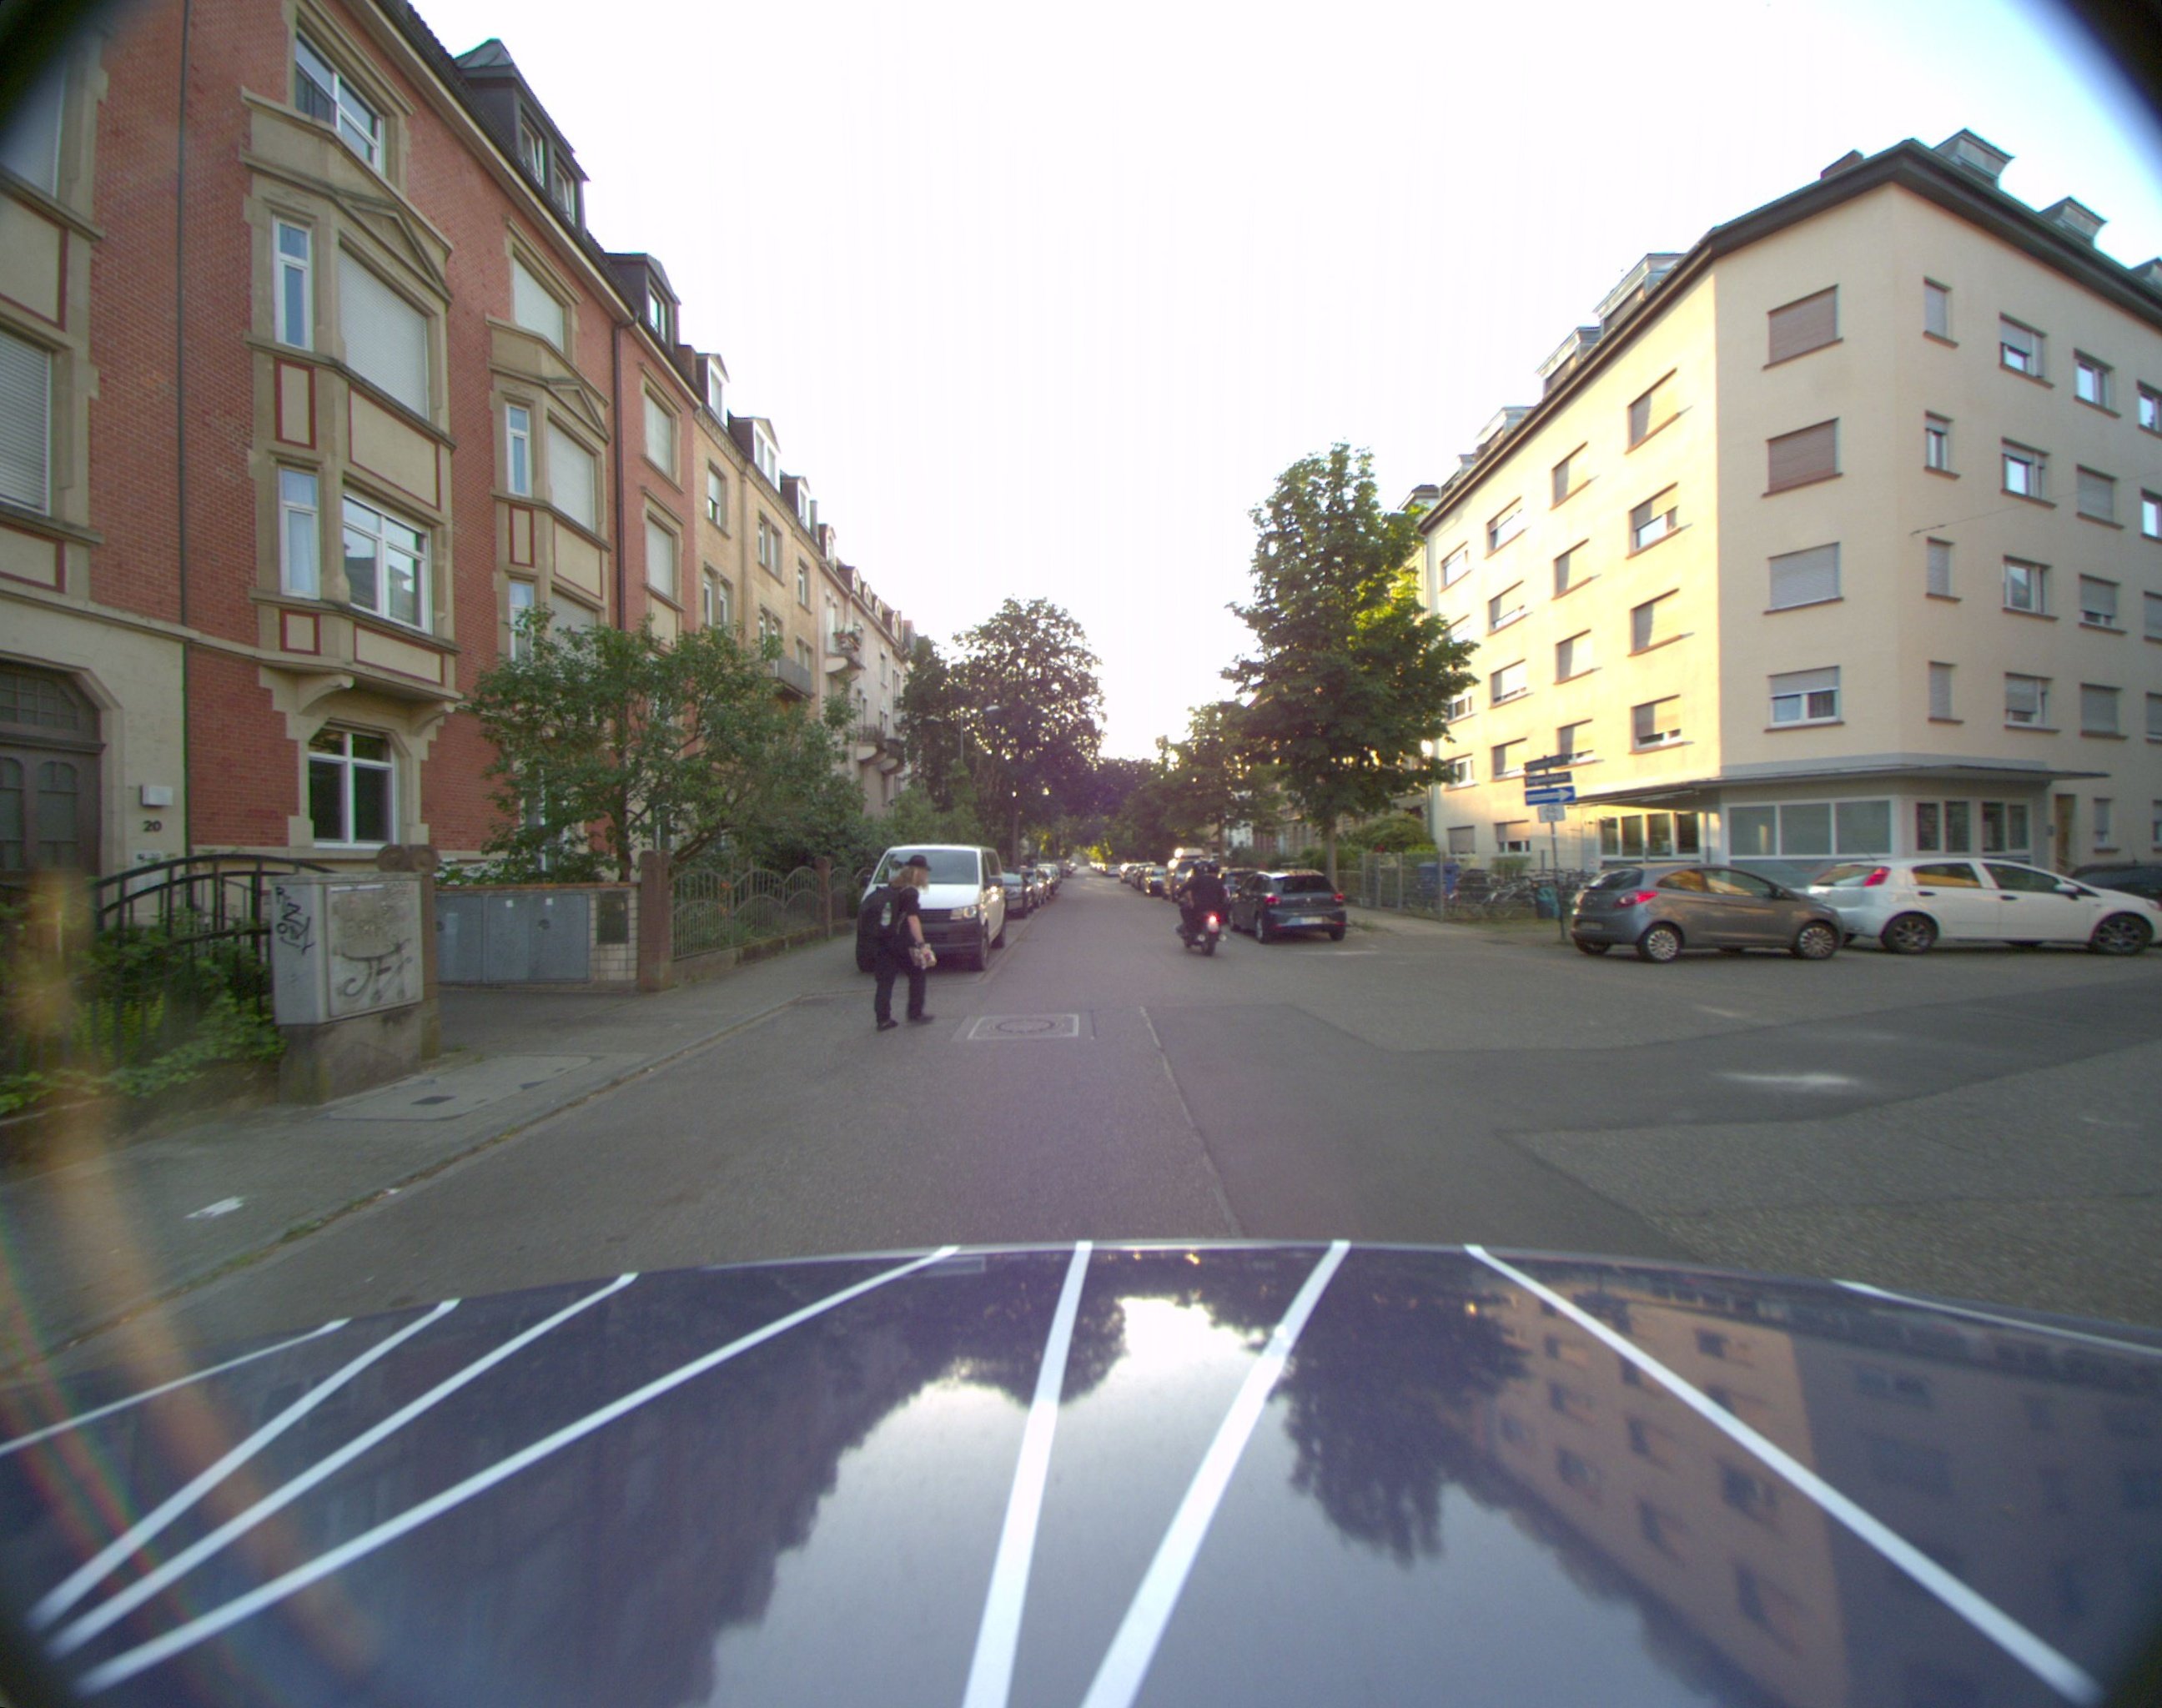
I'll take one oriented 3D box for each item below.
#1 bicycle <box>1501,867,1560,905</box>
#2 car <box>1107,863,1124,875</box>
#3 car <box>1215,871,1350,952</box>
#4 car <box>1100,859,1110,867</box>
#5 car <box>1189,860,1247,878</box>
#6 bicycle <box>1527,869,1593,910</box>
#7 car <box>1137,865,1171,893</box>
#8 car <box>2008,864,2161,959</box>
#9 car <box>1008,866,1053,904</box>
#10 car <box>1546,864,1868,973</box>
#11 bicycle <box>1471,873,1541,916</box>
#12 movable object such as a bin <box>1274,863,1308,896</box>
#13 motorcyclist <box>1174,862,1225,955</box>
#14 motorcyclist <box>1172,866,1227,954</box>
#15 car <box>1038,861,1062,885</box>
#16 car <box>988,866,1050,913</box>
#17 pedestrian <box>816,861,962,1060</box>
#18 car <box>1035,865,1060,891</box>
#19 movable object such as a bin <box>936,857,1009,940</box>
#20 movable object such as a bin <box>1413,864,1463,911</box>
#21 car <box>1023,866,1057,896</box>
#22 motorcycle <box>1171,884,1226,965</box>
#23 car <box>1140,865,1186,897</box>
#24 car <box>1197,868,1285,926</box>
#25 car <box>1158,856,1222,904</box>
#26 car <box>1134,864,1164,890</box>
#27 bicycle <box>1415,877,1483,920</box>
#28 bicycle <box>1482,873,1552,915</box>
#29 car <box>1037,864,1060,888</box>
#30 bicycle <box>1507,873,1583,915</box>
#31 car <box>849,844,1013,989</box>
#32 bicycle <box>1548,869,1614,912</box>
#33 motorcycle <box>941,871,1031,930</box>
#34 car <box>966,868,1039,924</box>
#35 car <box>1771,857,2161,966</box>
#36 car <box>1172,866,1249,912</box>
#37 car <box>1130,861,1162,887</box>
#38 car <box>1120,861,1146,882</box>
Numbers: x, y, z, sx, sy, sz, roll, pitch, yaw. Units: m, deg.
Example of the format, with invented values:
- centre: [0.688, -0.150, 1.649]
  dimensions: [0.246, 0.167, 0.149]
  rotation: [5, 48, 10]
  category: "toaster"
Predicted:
- centre: [13.772, 0.981, 23.285]
  dimensions: [1.548, 1.085, 0.500]
  rotation: [-2, 0, -6]
  category: "bicycle"
- centre: [4.422, 1.906, 97.577]
  dimensions: [1.953, 1.484, 3.738]
  rotation: [-2, 0, 0]
  category: "car"
- centre: [4.286, 1.156, 16.889]
  dimensions: [1.679, 1.453, 4.463]
  rotation: [-2, 0, -2]
  category: "car"
- centre: [4.643, 1.791, 147.085]
  dimensions: [1.840, 1.484, 3.641]
  rotation: [-2, 0, 0]
  category: "car"
- centre: [11.053, 1.214, 61.382]
  dimensions: [4.413, 1.333, 1.626]
  rotation: [-2, 0, 1]
  category: "car"
- centre: [13.926, 1.020, 22.081]
  dimensions: [1.635, 1.085, 0.500]
  rotation: [-2, 0, -6]
  category: "bicycle"
- centre: [4.079, 1.382, 42.839]
  dimensions: [1.441, 1.485, 3.298]
  rotation: [-2, 0, -2]
  category: "car"
- centre: [18.557, 0.912, 12.979]
  dimensions: [4.082, 1.430, 1.996]
  rotation: [-1, -1, -16]
  category: "car"
- centre: [-2.216, 1.348, 34.231]
  dimensions: [1.590, 1.516, 3.603]
  rotation: [-2, 0, 2]
  category: "car"
- centre: [9.654, 0.956, 11.948]
  dimensions: [3.515, 1.498, 1.845]
  rotation: [-1, -1, -1]
  category: "car"
- centre: [11.414, 1.074, 20.430]
  dimensions: [0.502, 1.085, 1.545]
  rotation: [-3, 0, -37]
  category: "bicycle"
- centre: [9.227, 1.094, 33.396]
  dimensions: [0.948, 1.379, 1.551]
  rotation: [-2, 0, -3]
  category: "movable object such as a bin"
- centre: [2.030, 0.912, 12.976]
  dimensions: [0.788, 1.531, 0.546]
  rotation: [2, 1, 10]
  category: "motorcyclist"
- centre: [2.143, 0.975, 13.676]
  dimensions: [0.891, 1.496, 0.970]
  rotation: [2, 0, 10]
  category: "motorcyclist"
- centre: [-2.314, 1.403, 57.331]
  dimensions: [1.737, 1.691, 4.168]
  rotation: [-2, 0, -2]
  category: "car"
- centre: [-2.337, 1.299, 29.733]
  dimensions: [1.761, 1.573, 4.843]
  rotation: [-2, 0, 2]
  category: "car"
- centre: [-1.836, 0.954, 7.303]
  dimensions: [0.889, 1.712, 0.961]
  rotation: [-2, 0, 42]
  category: "pedestrian"
- centre: [-2.069, 1.481, 47.318]
  dimensions: [1.479, 1.498, 3.929]
  rotation: [-2, 0, -2]
  category: "car"
- centre: [-2.574, 1.017, 18.408]
  dimensions: [1.415, 1.867, 2.325]
  rotation: [1, 0, 0]
  category: "movable object such as a bin"
- centre: [10.907, 0.996, 23.270]
  dimensions: [0.868, 1.344, 1.398]
  rotation: [-2, 0, 2]
  category: "movable object such as a bin"
- centre: [-2.243, 1.465, 42.095]
  dimensions: [1.737, 1.498, 4.163]
  rotation: [-2, 0, -2]
  category: "car"
- centre: [2.091, 1.188, 13.424]
  dimensions: [0.848, 1.202, 2.076]
  rotation: [2, 0, 10]
  category: "motorcycle"
- centre: [4.035, 1.332, 38.123]
  dimensions: [1.733, 1.433, 4.024]
  rotation: [-2, 0, -2]
  category: "car"
- centre: [4.453, 1.145, 21.715]
  dimensions: [1.746, 1.412, 4.143]
  rotation: [-2, 0, 2]
  category: "car"
- centre: [4.452, 1.021, 31.730]
  dimensions: [1.866, 1.768, 4.623]
  rotation: [-2, 0, -1]
  category: "car"
- centre: [4.195, 1.402, 47.298]
  dimensions: [1.682, 1.489, 3.626]
  rotation: [-2, 0, 2]
  category: "car"
- centre: [9.762, 1.159, 20.237]
  dimensions: [0.689, 1.019, 1.931]
  rotation: [-2, 0, -6]
  category: "bicycle"
- centre: [11.860, 1.081, 20.702]
  dimensions: [0.502, 1.085, 1.545]
  rotation: [-3, 0, -37]
  category: "bicycle"
- centre: [-2.178, 1.475, 51.712]
  dimensions: [1.502, 1.538, 3.338]
  rotation: [-2, 0, -2]
  category: "car"
- centre: [12.526, 1.069, 20.570]
  dimensions: [0.386, 1.085, 1.707]
  rotation: [-3, 0, -36]
  category: "bicycle"
- centre: [-2.359, 0.897, 13.464]
  dimensions: [1.866, 2.027, 5.544]
  rotation: [1, 0, -1]
  category: "car"
- centre: [13.982, 1.012, 21.255]
  dimensions: [1.548, 1.134, 0.500]
  rotation: [-2, 0, -6]
  category: "bicycle"
- centre: [-2.557, 1.220, 20.410]
  dimensions: [2.099, 1.473, 1.130]
  rotation: [1, 0, -33]
  category: "motorcycle"
- centre: [-2.424, 1.269, 24.480]
  dimensions: [1.724, 1.542, 4.326]
  rotation: [-2, 0, 2]
  category: "car"
- centre: [14.178, 0.894, 12.243]
  dimensions: [4.066, 1.499, 1.975]
  rotation: [-2, 0, 12]
  category: "car"
- centre: [4.461, 1.173, 26.871]
  dimensions: [1.866, 1.404, 4.590]
  rotation: [-2, 0, -1]
  category: "car"
- centre: [4.440, 1.347, 52.339]
  dimensions: [1.866, 1.653, 4.021]
  rotation: [-2, 0, 1]
  category: "car"
- centre: [4.347, 1.435, 63.898]
  dimensions: [1.677, 1.627, 3.940]
  rotation: [-2, 0, -3]
  category: "car"
